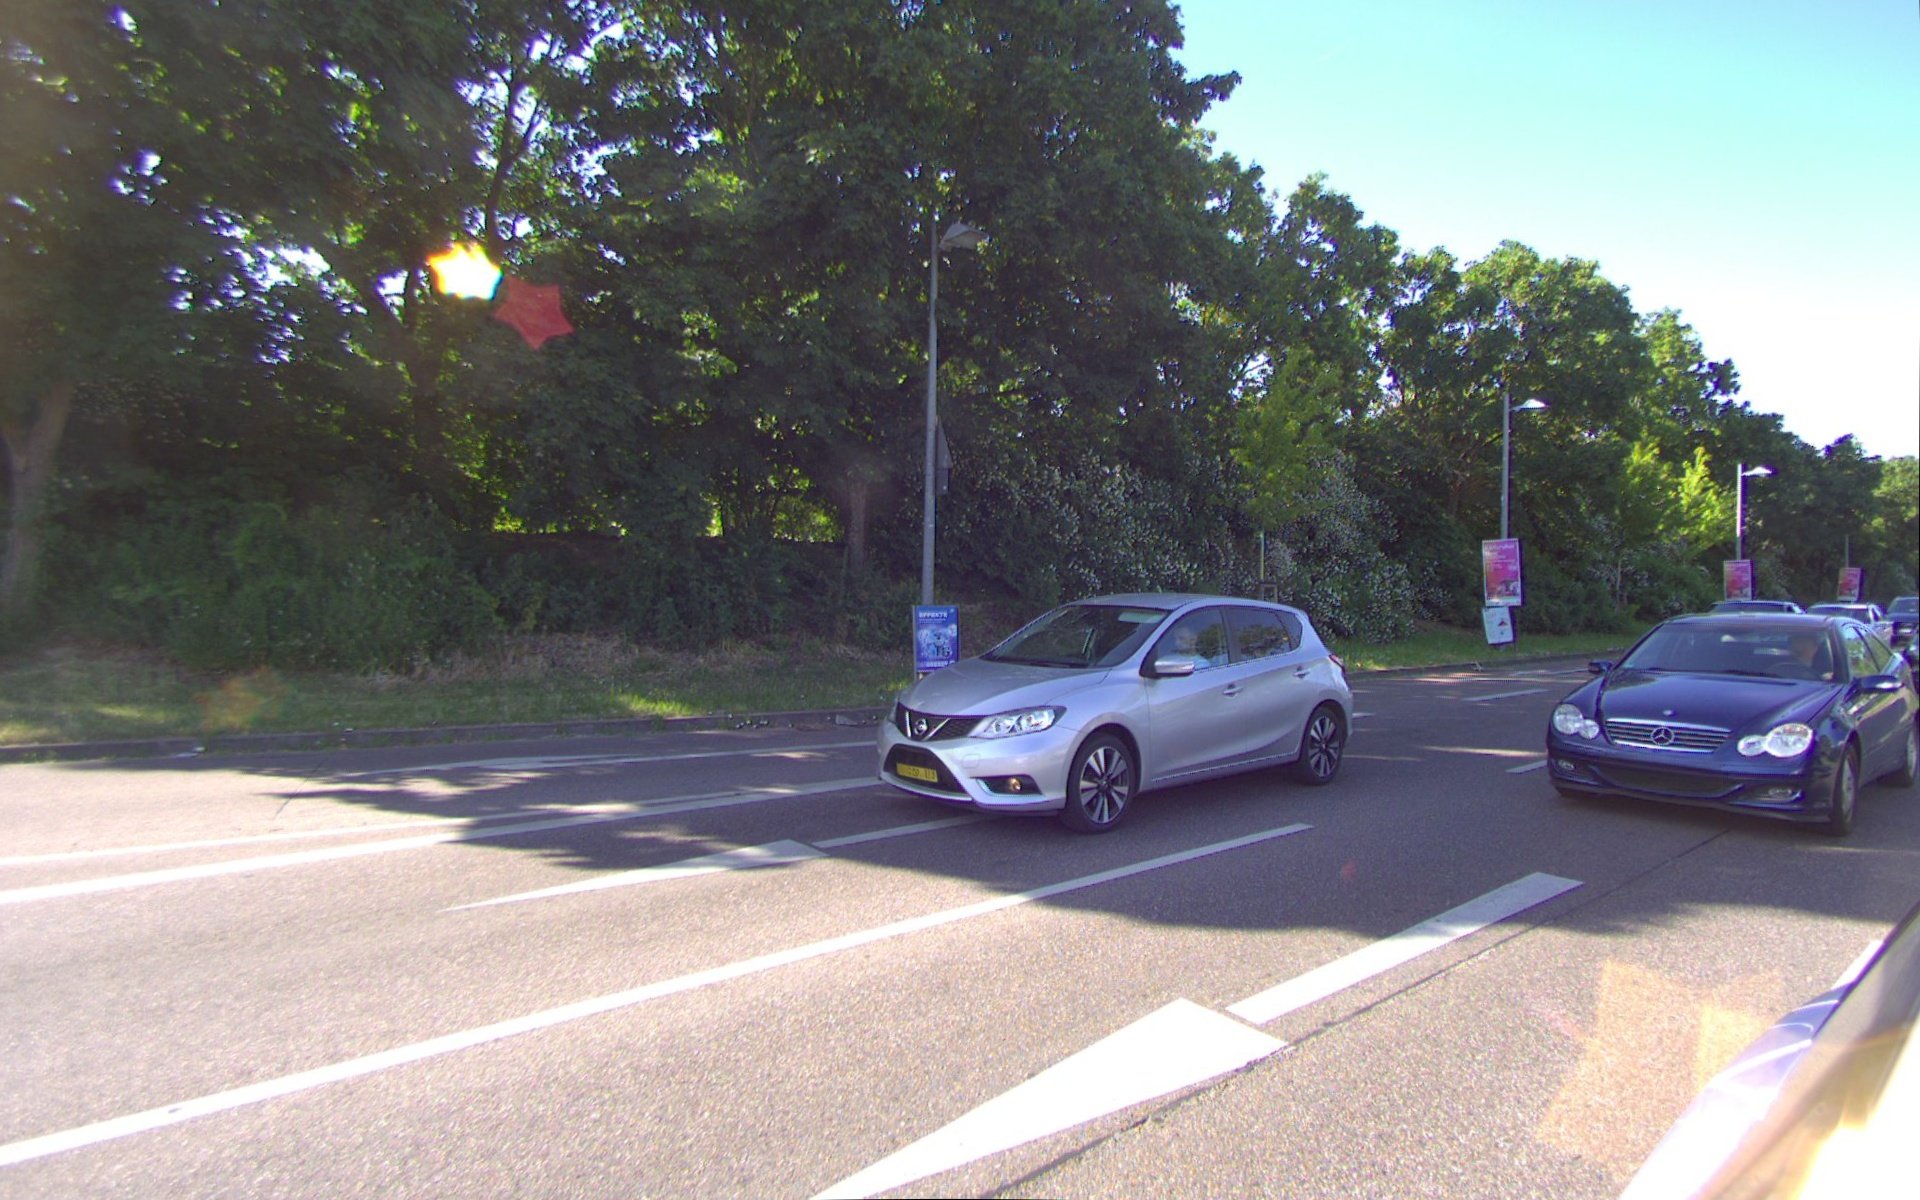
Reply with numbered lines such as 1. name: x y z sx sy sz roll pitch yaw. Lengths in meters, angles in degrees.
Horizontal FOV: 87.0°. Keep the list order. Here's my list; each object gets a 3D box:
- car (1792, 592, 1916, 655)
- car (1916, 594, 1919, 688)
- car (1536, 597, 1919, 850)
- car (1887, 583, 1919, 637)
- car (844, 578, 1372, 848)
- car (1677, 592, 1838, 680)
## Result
1. car: 22.717 0.526 25.663 4.309 1.454 1.748 -1 1 -40
2. car: 17.243 0.636 16.845 3.393 1.512 1.620 -1 0 -41
3. car: 6.181 0.715 7.871 3.979 1.437 1.722 0 1 -41
4. car: 32.000 0.323 33.310 3.930 1.682 1.748 0 1 -41
5. car: 1.293 0.639 7.741 4.063 1.536 1.725 0 0 -39
6. car: 15.407 0.616 19.486 3.894 1.512 1.713 0 1 -40
